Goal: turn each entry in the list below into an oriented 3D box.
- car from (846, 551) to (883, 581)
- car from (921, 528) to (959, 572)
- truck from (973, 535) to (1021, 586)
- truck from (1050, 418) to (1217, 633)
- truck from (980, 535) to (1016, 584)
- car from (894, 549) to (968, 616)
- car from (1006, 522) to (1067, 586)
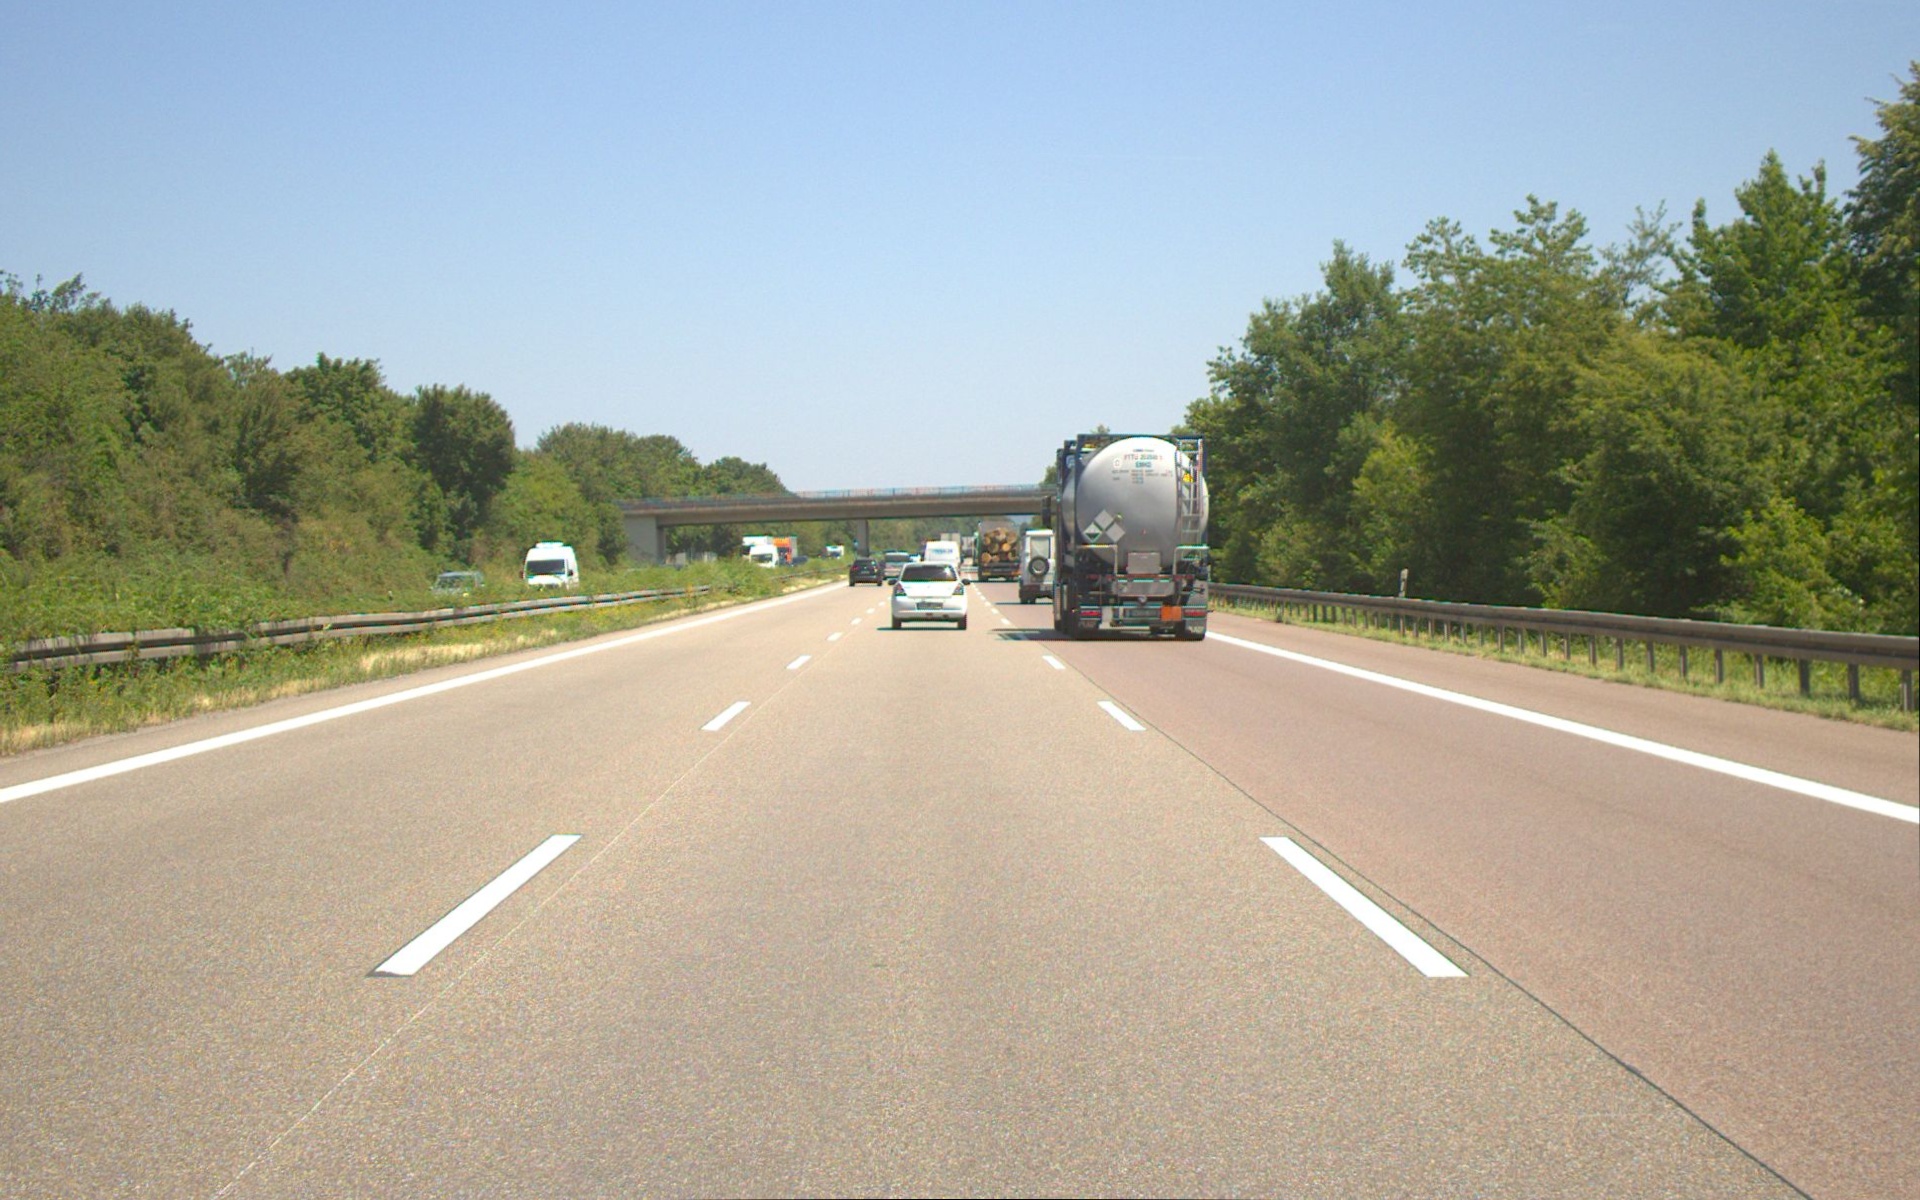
[{"bbox_3d":[-5.456,-1.947,196.826,1.993,1.719,4.787,0,1,-1],"label":"car"},{"bbox_3d":[-1.086,-2.755,188.554,1.993,2.335,4.387,0,1,1],"label":"car"},{"bbox_3d":[2.337,-2.524,221.442,2.914,3.229,6.344,1,0,-1],"label":"truck"},{"bbox_3d":[3.404,-1.471,69.859,2.739,4.038,10.455,0,1,-1],"label":"truck"},{"bbox_3d":[2.536,-2.700,232.155,2.290,3.229,6.344,1,0,-1],"label":"truck"},{"bbox_3d":[-0.659,-0.413,77.606,1.627,1.474,4.000,0,1,-1],"label":"car"},{"bbox_3d":[2.706,-1.649,122.031,1.993,2.217,4.787,0,1,-1],"label":"car"}]
